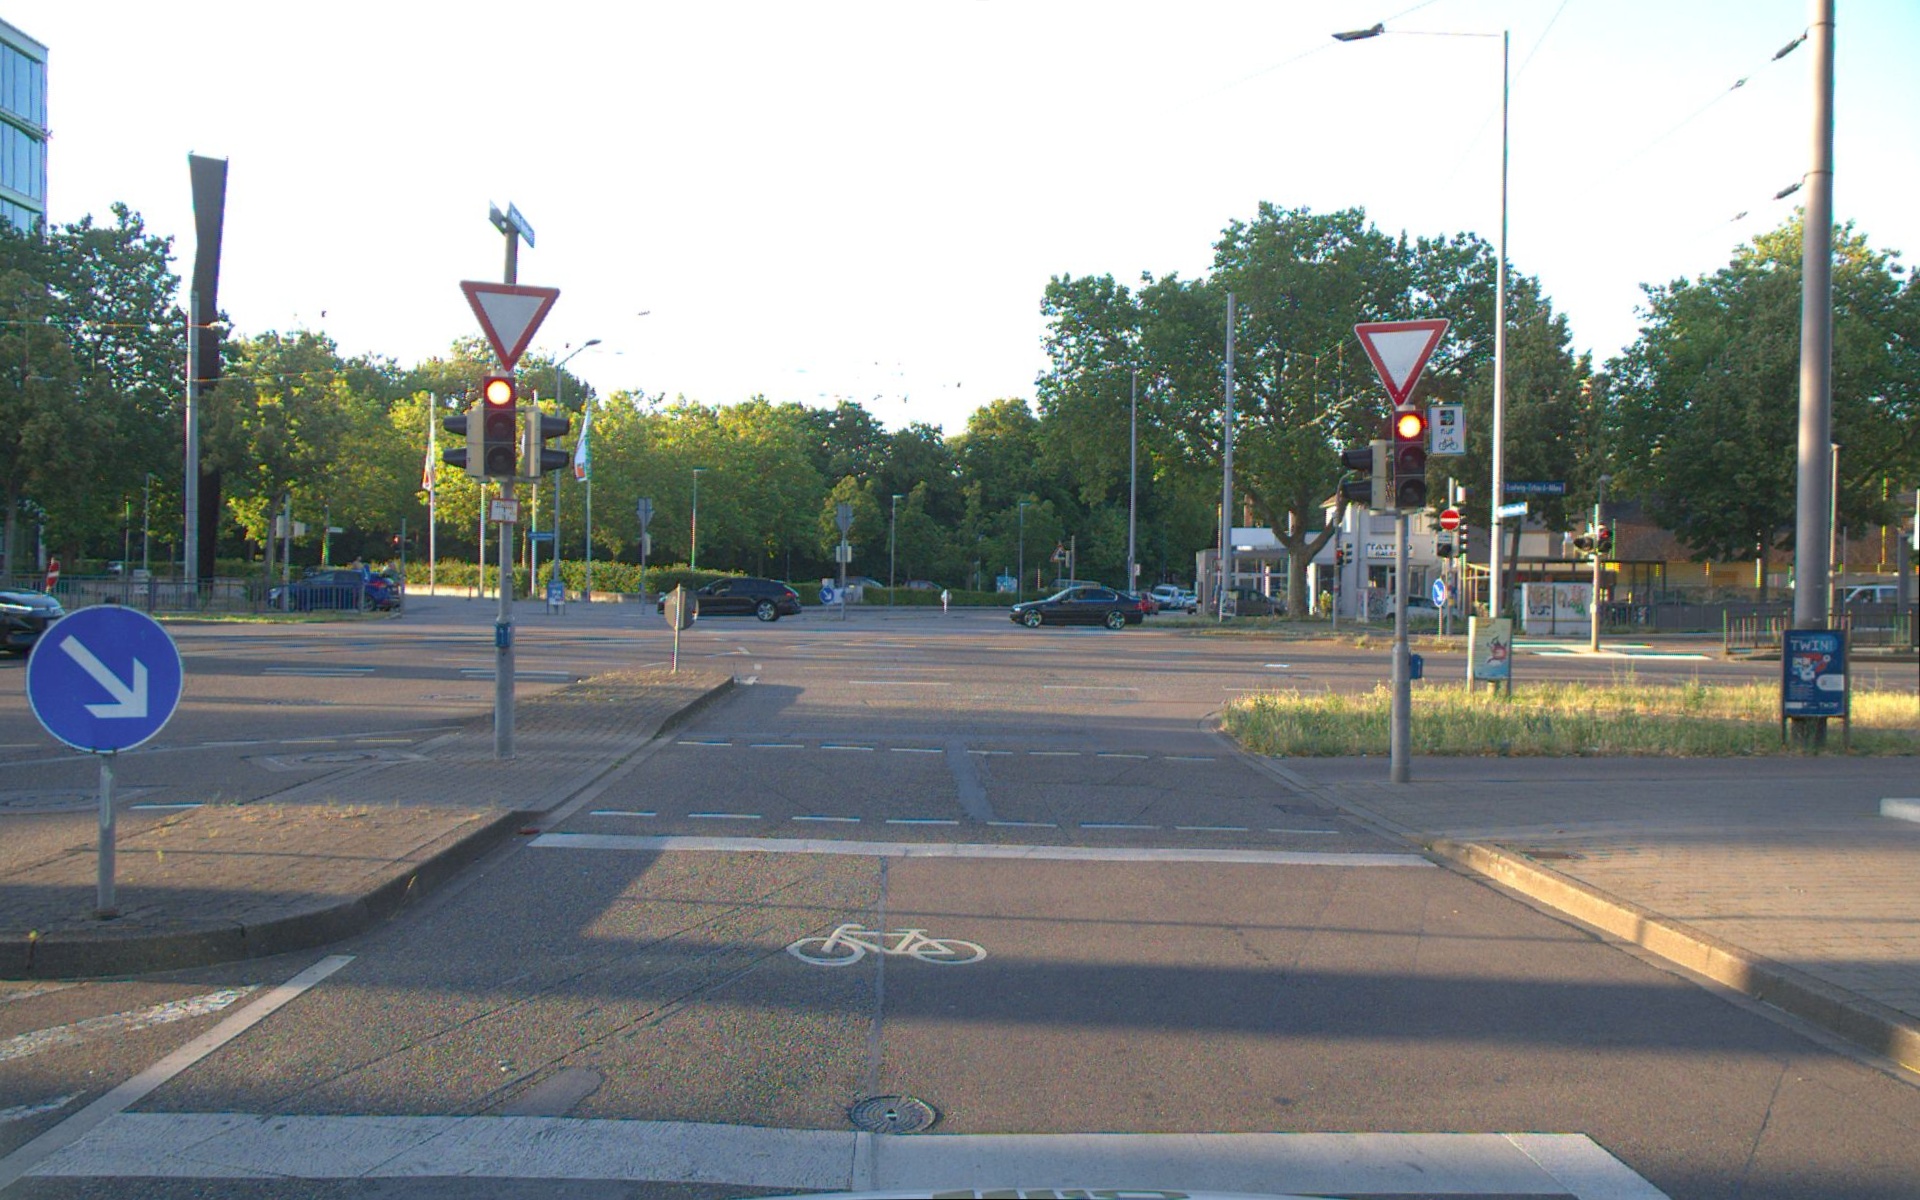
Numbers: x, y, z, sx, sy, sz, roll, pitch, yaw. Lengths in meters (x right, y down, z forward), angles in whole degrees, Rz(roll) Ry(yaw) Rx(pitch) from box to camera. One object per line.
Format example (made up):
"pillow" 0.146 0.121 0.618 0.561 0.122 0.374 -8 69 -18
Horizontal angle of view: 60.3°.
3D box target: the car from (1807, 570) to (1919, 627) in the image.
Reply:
"car" 43.660 -0.066 78.695 5.476 2.596 2.231 1 0 7

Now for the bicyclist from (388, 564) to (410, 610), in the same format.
"bicyclist" -21.388 -0.510 63.064 0.740 1.739 0.914 1 0 -22

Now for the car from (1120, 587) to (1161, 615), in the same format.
"car" 11.324 0.099 103.535 1.951 1.691 4.003 0 -1 14

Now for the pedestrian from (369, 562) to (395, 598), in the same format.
"pedestrian" -28.750 -1.005 82.292 0.844 1.774 0.829 1 0 29

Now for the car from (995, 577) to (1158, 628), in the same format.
"car" 3.731 0.093 53.778 5.119 1.579 1.999 1 -1 -2

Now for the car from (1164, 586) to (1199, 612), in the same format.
"car" 15.559 -0.058 115.827 1.951 1.691 4.003 0 -1 14

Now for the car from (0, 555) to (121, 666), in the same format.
"car" -15.898 0.128 25.526 4.811 1.643 1.998 1 0 -5

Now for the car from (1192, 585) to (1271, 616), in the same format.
"car" 14.659 0.029 89.382 4.129 1.579 2.001 1 -1 7

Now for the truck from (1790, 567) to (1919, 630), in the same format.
"truck" 31.958 -0.038 57.255 5.443 2.090 2.068 1 0 0

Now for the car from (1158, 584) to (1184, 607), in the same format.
"car" 17.412 -0.346 136.346 1.823 1.825 4.003 0 -1 12

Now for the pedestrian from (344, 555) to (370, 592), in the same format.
"pedestrian" -29.440 -1.299 80.767 0.843 1.774 0.829 1 0 28

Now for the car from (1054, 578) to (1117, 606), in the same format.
"car" 9.513 -0.584 126.020 4.675 2.041 2.000 1 -1 1

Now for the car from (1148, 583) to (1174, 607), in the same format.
"car" 16.003 -0.357 131.430 1.823 1.825 4.003 1 -1 10

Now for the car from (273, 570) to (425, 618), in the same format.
"car" -20.793 -0.187 56.393 4.380 1.579 2.000 1 -1 0

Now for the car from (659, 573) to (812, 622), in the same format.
"car" -7.653 -0.080 56.863 4.997 1.579 1.999 1 -1 -2

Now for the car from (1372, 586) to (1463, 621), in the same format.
"car" 20.002 0.170 72.442 3.659 1.465 1.665 1 -1 9
